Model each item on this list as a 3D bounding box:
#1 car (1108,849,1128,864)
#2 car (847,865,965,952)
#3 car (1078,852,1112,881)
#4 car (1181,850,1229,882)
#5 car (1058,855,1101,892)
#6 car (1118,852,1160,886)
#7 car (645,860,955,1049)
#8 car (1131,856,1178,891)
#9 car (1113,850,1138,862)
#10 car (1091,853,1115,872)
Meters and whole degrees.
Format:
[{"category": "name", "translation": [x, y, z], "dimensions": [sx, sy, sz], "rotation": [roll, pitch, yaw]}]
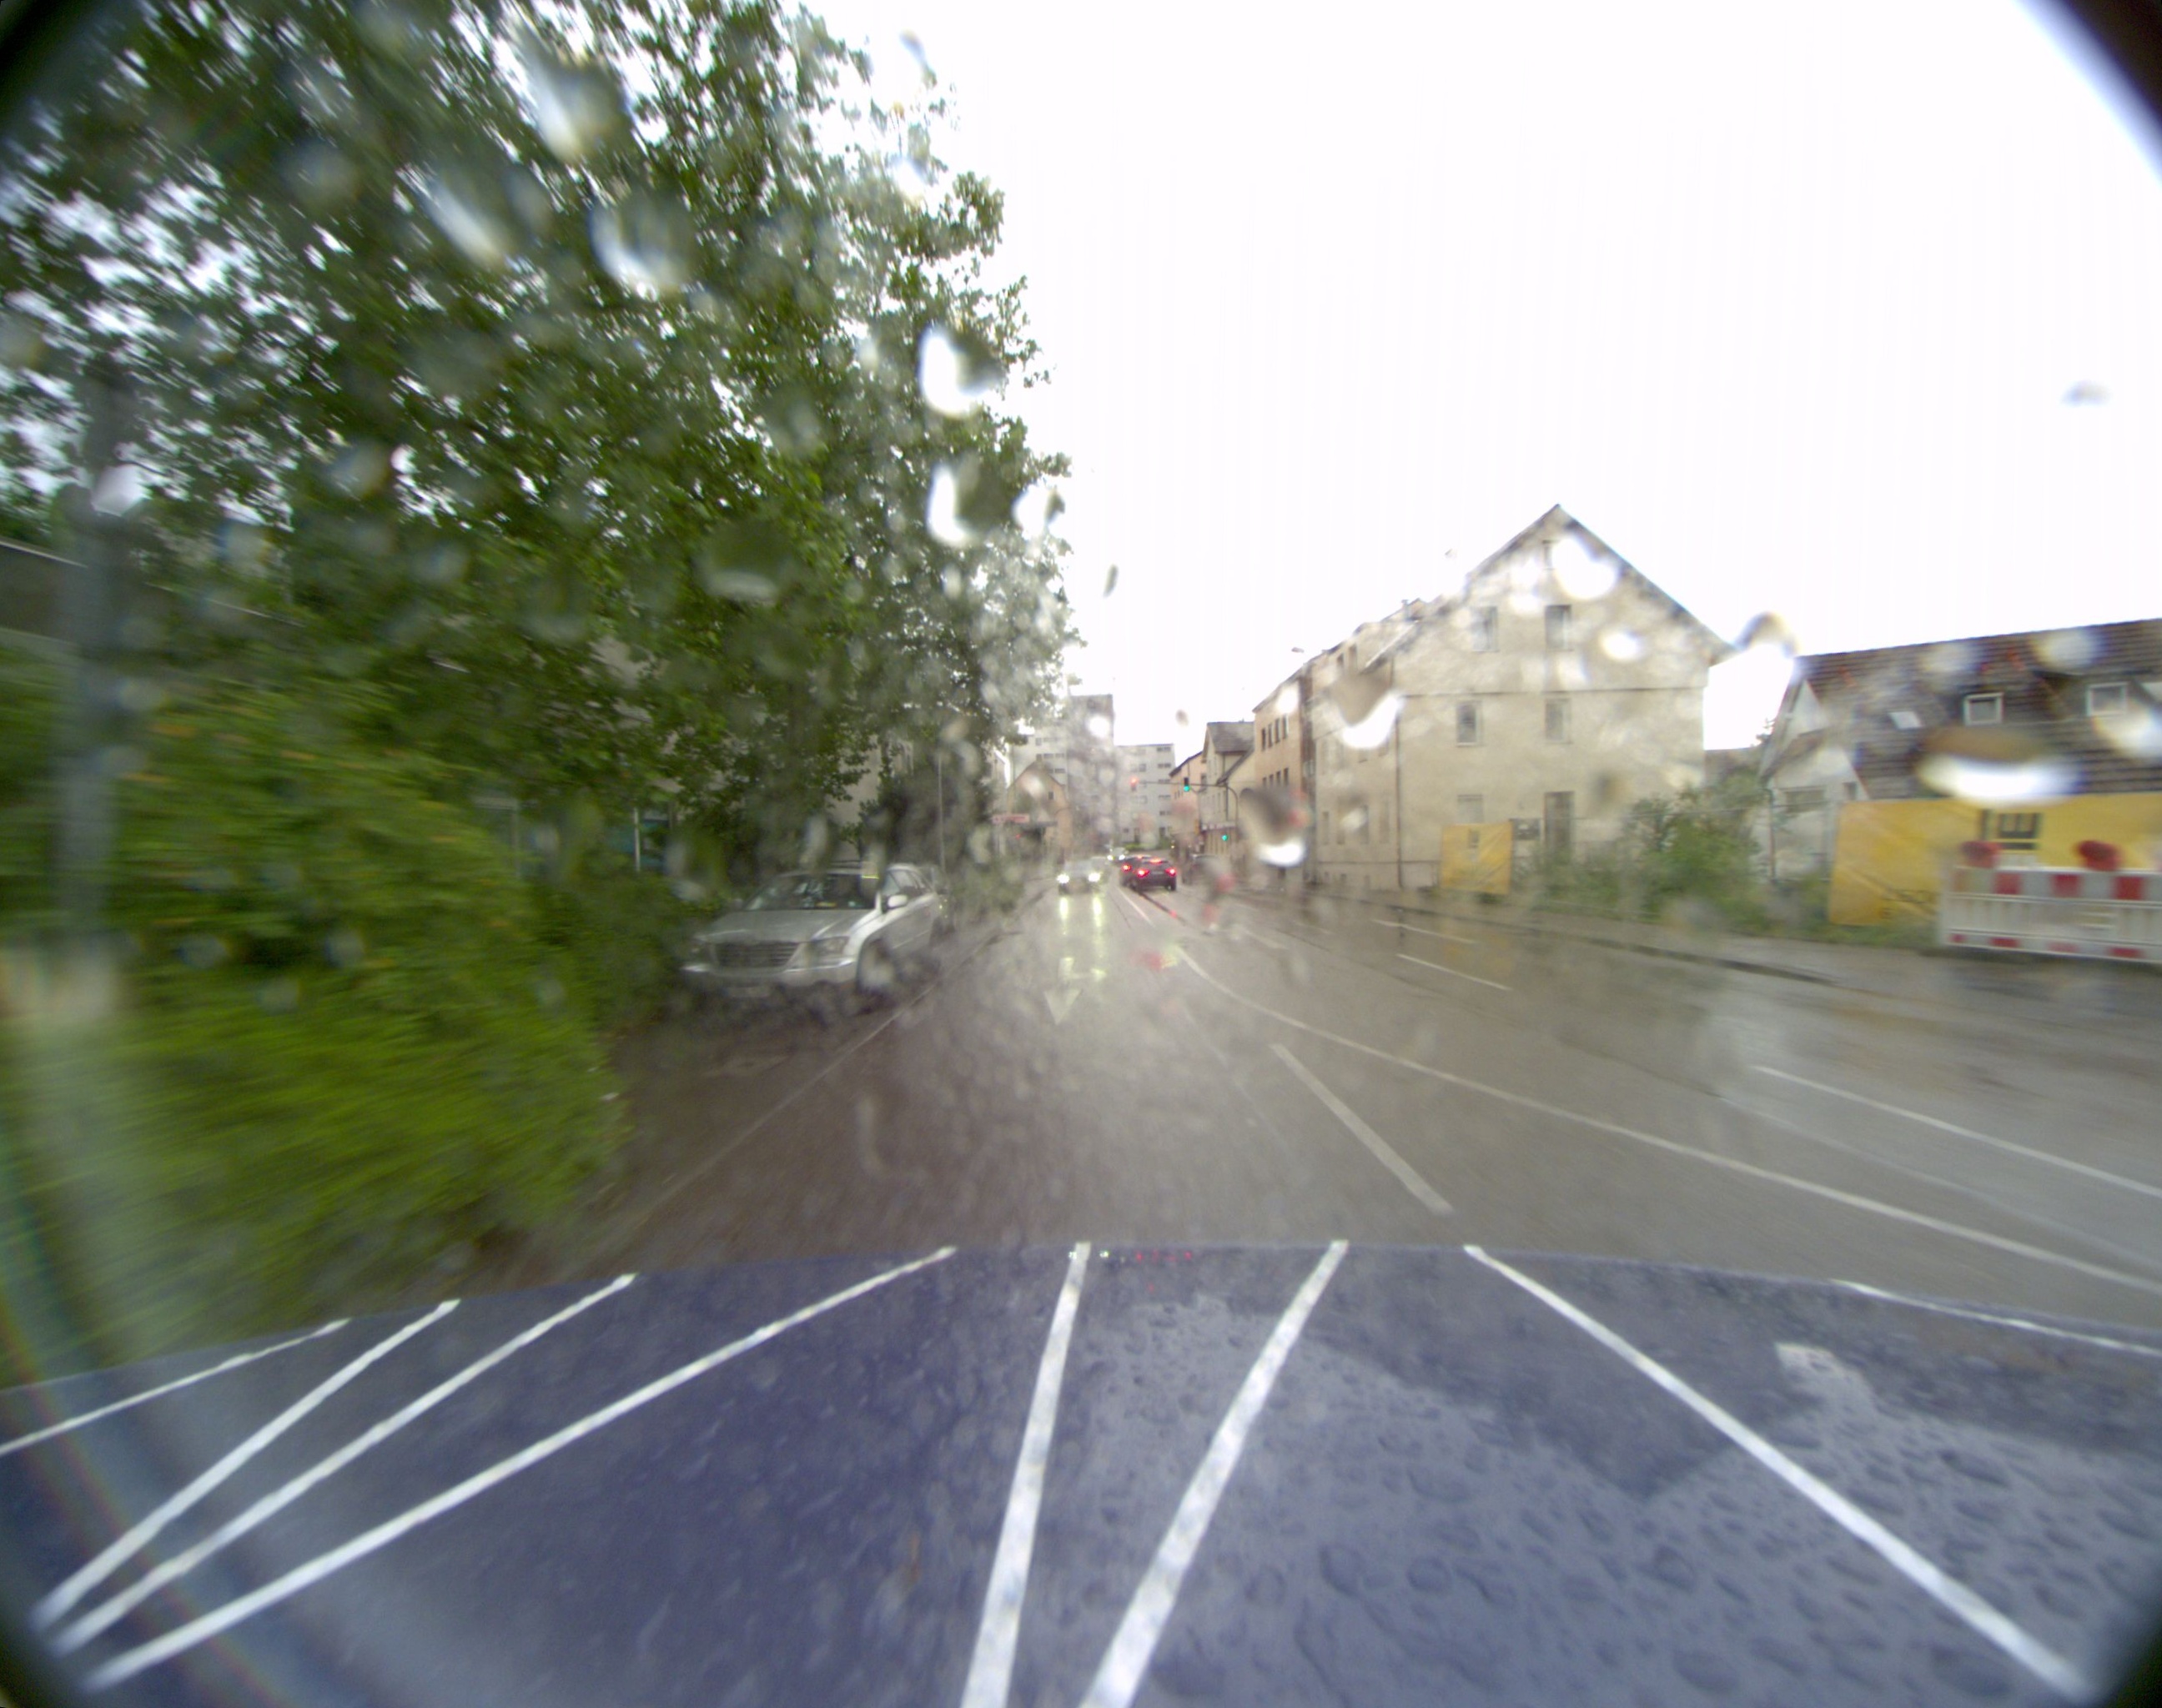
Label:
[{"category": "car", "translation": [3.940, 0.229, 80.239], "dimensions": [1.685, 1.452, 4.002], "rotation": [-2, 0, 7]}, {"category": "car", "translation": [-3.597, 1.055, 16.310], "dimensions": [1.714, 1.563, 3.914], "rotation": [-1, 0, -2]}, {"category": "car", "translation": [0.839, 0.769, 47.499], "dimensions": [1.998, 1.652, 4.000], "rotation": [-3, 0, 0]}, {"category": "car", "translation": [6.385, 0.596, 39.653], "dimensions": [1.820, 1.562, 4.275], "rotation": [-1, 0, 0]}, {"category": "car", "translation": [-0.076, 0.861, 35.924], "dimensions": [1.820, 1.562, 4.275], "rotation": [-2, 0, -1]}, {"category": "car", "translation": [3.063, 0.769, 40.787], "dimensions": [1.820, 1.635, 4.275], "rotation": [-3, 0, -1]}, {"category": "car", "translation": [-3.091, 0.984, 9.638], "dimensions": [1.935, 1.770, 4.735], "rotation": [-1, 0, 3]}, {"category": "car", "translation": [3.267, 0.841, 34.316], "dimensions": [1.711, 1.375, 3.669], "rotation": [-2, 0, 0]}, {"category": "car", "translation": [5.865, 0.265, 99.502], "dimensions": [1.683, 1.452, 4.007], "rotation": [-2, 0, 27]}, {"category": "car", "translation": [1.803, 0.698, 61.614], "dimensions": [1.686, 1.413, 4.001], "rotation": [-2, 0, 5]}]
